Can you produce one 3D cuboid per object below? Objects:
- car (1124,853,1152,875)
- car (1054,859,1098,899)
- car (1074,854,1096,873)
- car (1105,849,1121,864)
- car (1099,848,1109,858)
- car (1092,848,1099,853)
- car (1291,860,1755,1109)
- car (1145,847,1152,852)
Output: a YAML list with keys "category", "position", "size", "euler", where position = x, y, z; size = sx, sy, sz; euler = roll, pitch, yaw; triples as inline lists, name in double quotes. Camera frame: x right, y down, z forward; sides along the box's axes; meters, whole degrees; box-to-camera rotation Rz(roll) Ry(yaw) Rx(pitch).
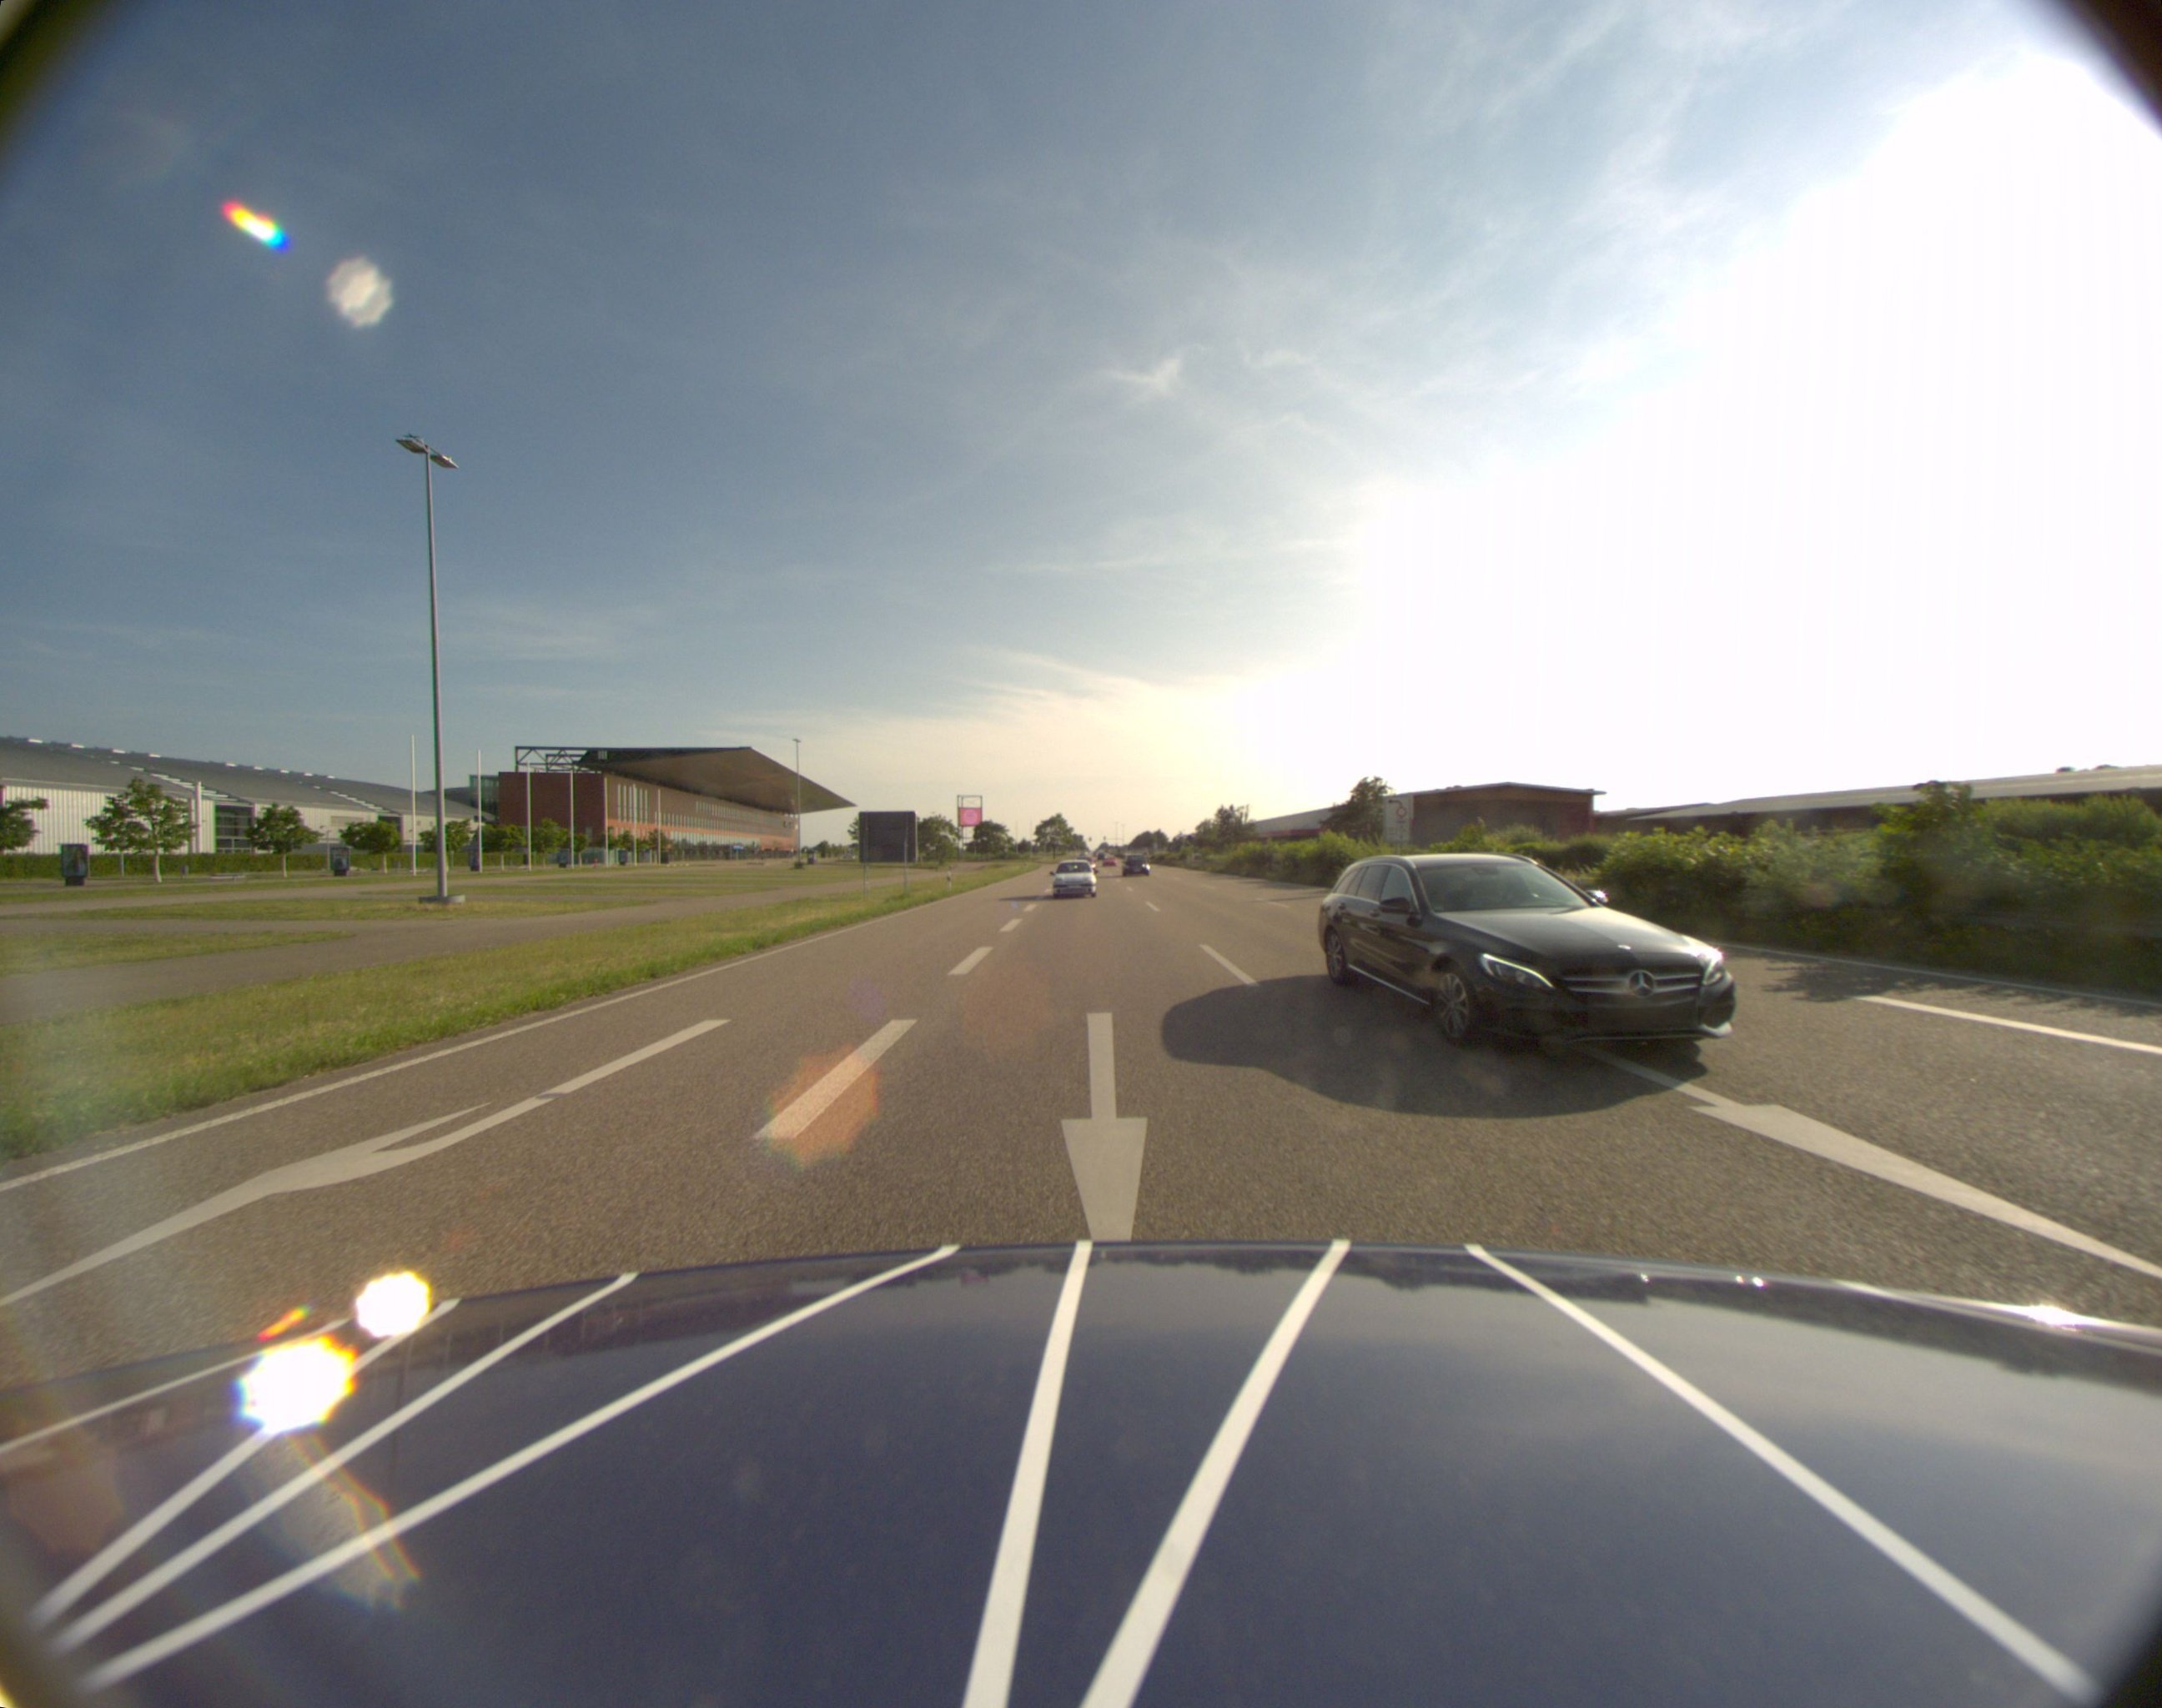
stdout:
- category: "car"
  position: [4.021, 0.701, 54.090]
  size: [1.758, 1.499, 3.422]
  euler: [-1, 0, 0]
- category: "car"
  position: [-0.148, 0.930, 29.500]
  size: [1.578, 1.371, 3.451]
  euler: [-1, 0, 1]
- category: "car"
  position: [0.357, 0.748, 62.664]
  size: [1.751, 1.512, 3.739]
  euler: [-1, 0, 1]
- category: "car"
  position: [4.062, 0.312, 96.813]
  size: [1.799, 1.926, 4.000]
  euler: [-1, 1, 1]
- category: "car"
  position: [4.635, -0.208, 152.552]
  size: [1.998, 2.002, 4.000]
  euler: [-1, 1, 1]
- category: "car"
  position: [4.512, -1.080, 235.707]
  size: [1.998, 1.674, 4.000]
  euler: [-1, 1, 1]
- category: "car"
  position: [3.451, 0.838, 7.254]
  size: [1.576, 1.462, 5.022]
  euler: [-1, 0, 1]
- category: "car"
  position: [22.149, -1.549, 249.379]
  size: [1.784, 1.416, 4.000]
  euler: [0, 1, 1]
